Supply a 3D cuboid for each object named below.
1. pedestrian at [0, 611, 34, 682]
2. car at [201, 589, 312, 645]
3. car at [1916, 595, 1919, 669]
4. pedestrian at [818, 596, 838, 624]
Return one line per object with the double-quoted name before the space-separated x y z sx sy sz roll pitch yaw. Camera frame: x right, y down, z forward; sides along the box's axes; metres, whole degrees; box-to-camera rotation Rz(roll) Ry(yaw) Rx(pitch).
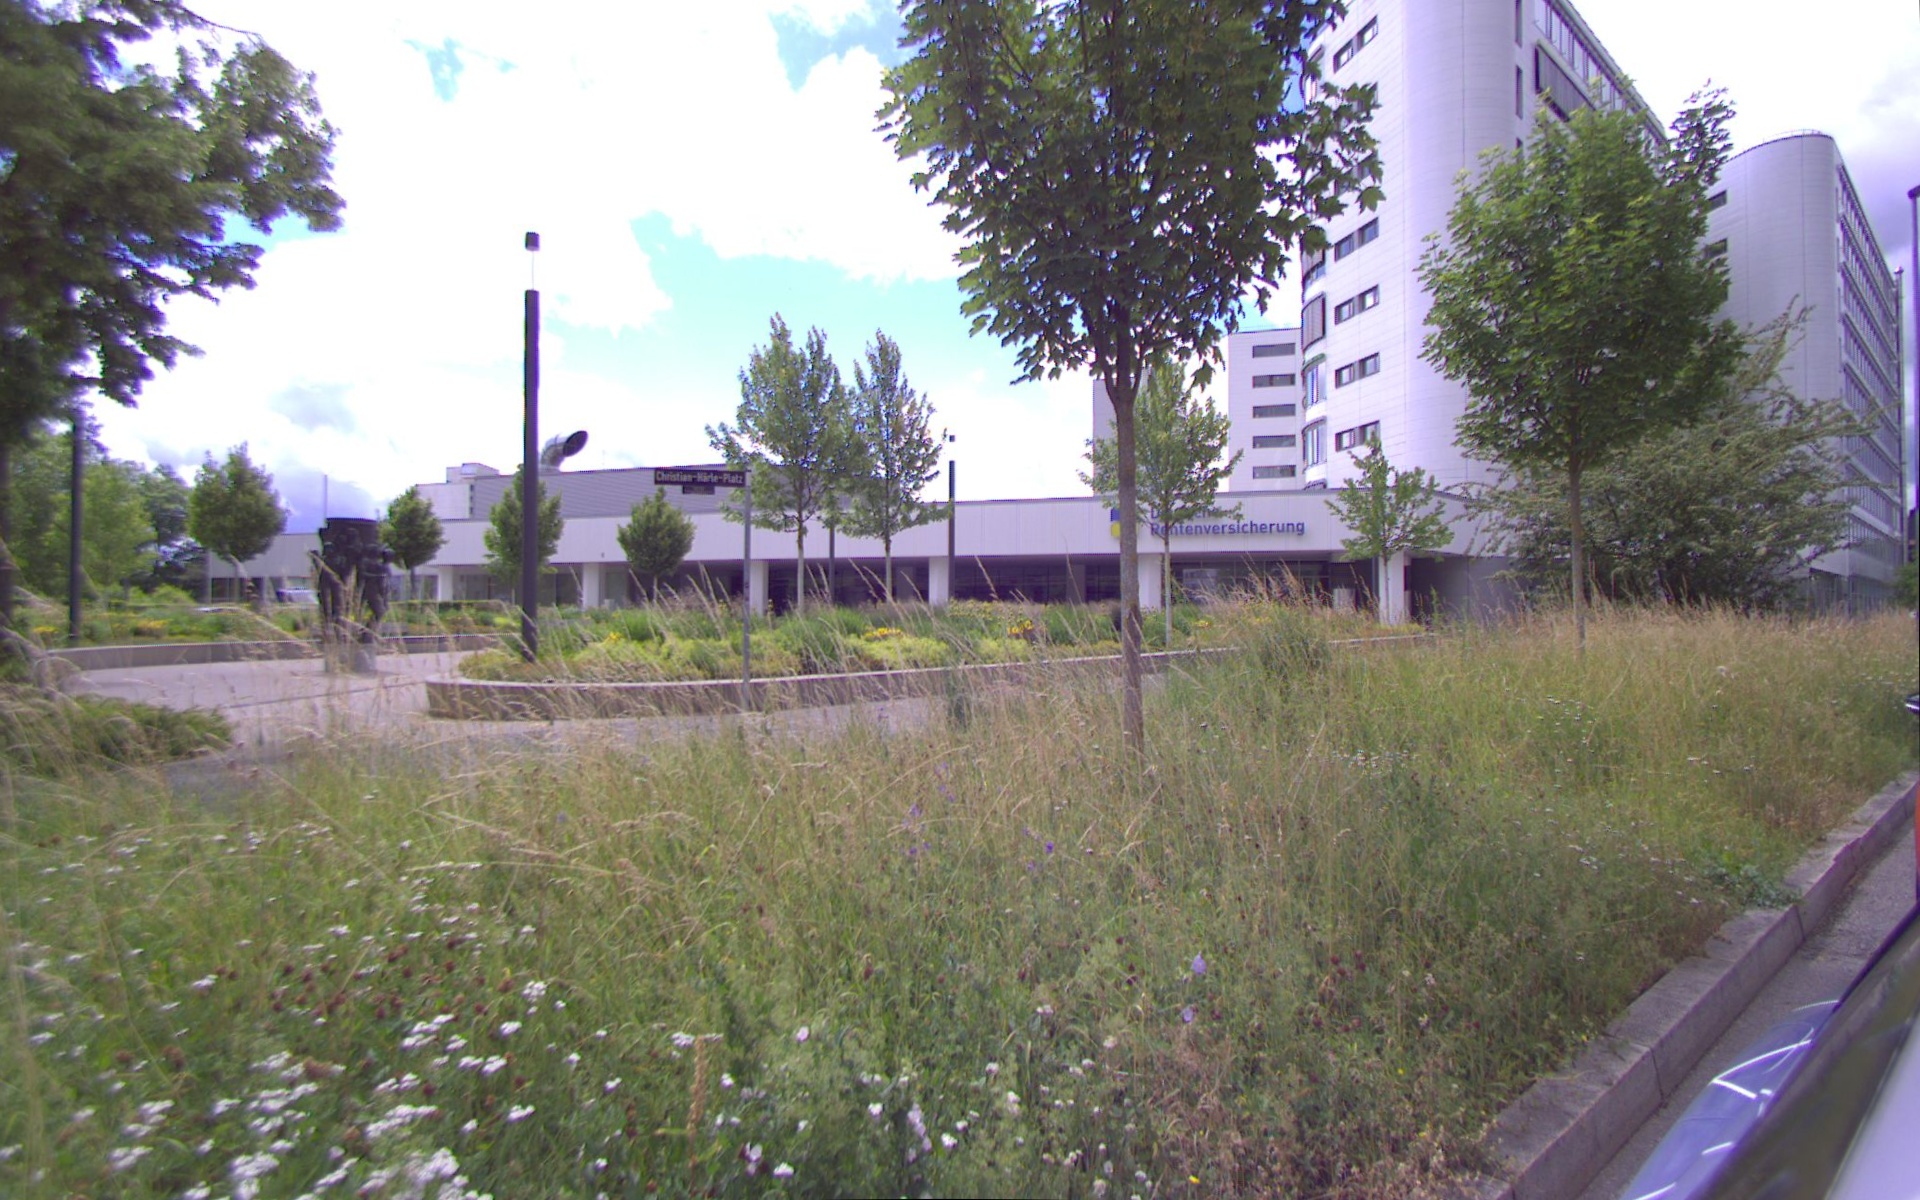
"pedestrian" -17.457 0.845 18.670 0.560 1.278 0.581 0 0 -43
"car" -23.372 0.527 33.612 3.470 1.788 1.622 0 0 27
"car" 22.618 0.709 22.475 3.386 1.594 1.736 0 0 -42
"pedestrian" -6.299 0.483 48.398 0.868 1.290 0.705 1 0 -2
